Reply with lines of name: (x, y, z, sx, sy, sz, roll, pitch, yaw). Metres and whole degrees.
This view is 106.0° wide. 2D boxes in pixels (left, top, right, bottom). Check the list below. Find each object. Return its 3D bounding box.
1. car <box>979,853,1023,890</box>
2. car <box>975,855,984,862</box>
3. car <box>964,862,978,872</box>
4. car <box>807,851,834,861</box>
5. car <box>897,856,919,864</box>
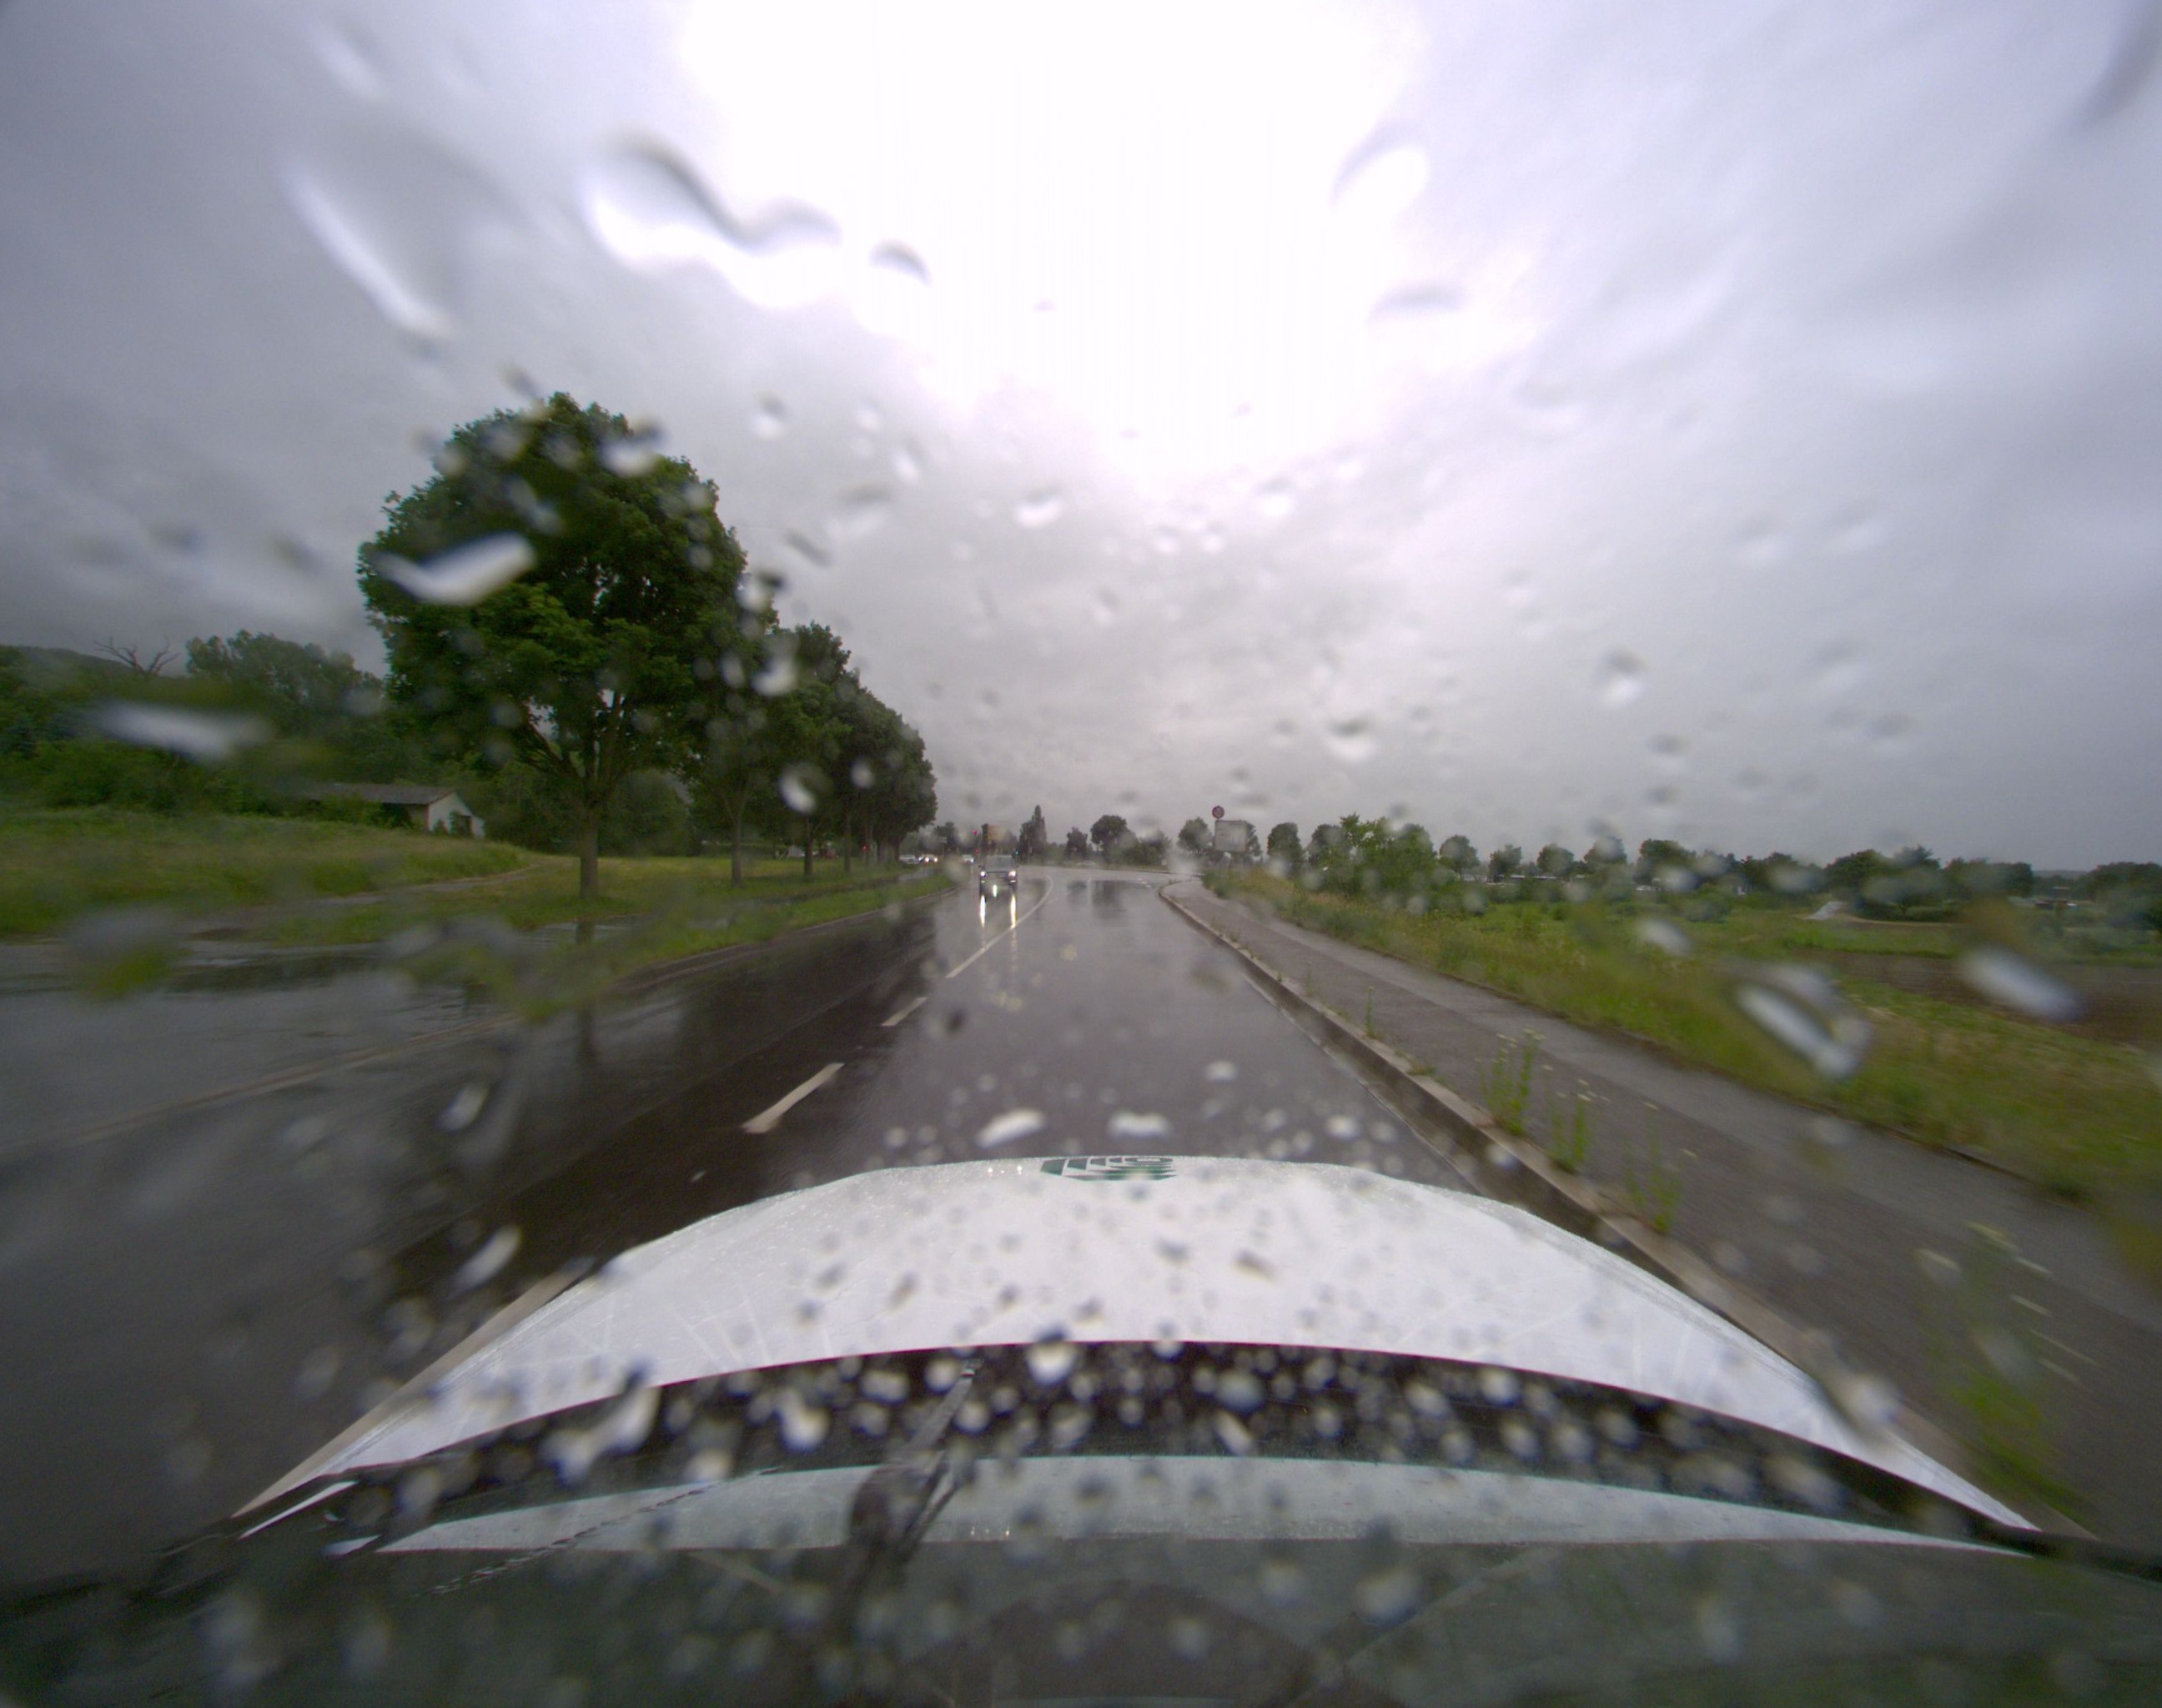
car: (-3.902, 0.847, 40.246, 1.736, 1.704, 4.221, 0, -1, -1)
car: (-21.301, 0.968, 170.259, 1.737, 1.487, 4.002, 0, -1, -6)
car: (-15.456, 1.810, 114.484, 1.737, 1.487, 4.002, 0, -1, -6)
car: (-45.967, 0.387, 143.648, 4.378, 1.579, 1.725, 2, -1, -12)
car: (-34.402, 1.228, 162.127, 4.238, 1.579, 1.725, 2, -1, -12)
